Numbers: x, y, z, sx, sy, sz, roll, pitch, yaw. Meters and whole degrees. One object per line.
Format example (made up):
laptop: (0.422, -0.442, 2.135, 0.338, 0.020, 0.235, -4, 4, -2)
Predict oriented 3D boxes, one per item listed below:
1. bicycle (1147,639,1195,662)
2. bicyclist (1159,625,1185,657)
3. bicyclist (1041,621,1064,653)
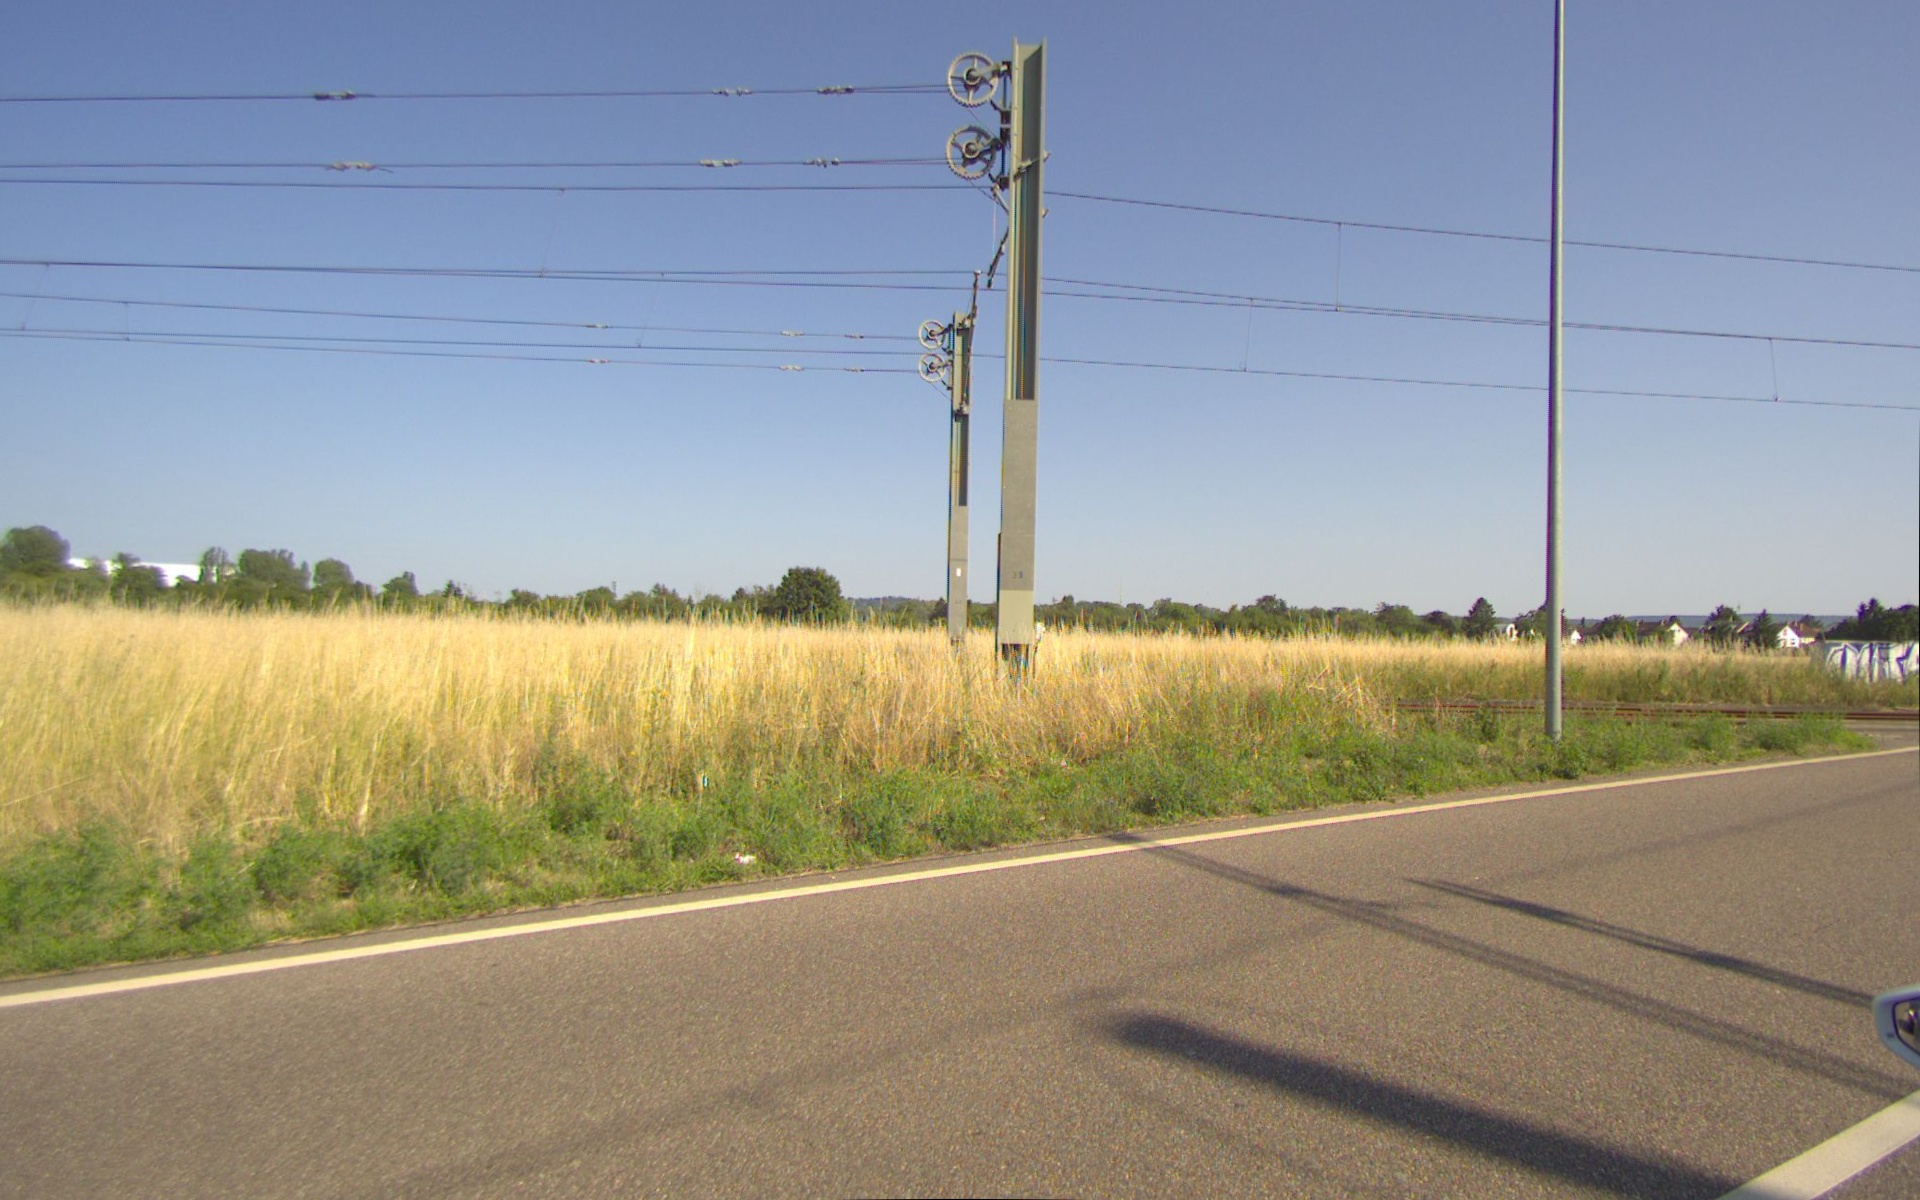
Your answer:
bicycle: (8.402, 2.007, 39.970, 1.704, 0.850, 0.751, 2, -1, -7)
bicyclist: (8.441, 1.635, 39.982, 0.775, 1.221, 0.747, 1, -1, -8)
bicyclist: (3.620, 1.447, 39.510, 0.775, 1.221, 0.603, 1, -1, -8)
